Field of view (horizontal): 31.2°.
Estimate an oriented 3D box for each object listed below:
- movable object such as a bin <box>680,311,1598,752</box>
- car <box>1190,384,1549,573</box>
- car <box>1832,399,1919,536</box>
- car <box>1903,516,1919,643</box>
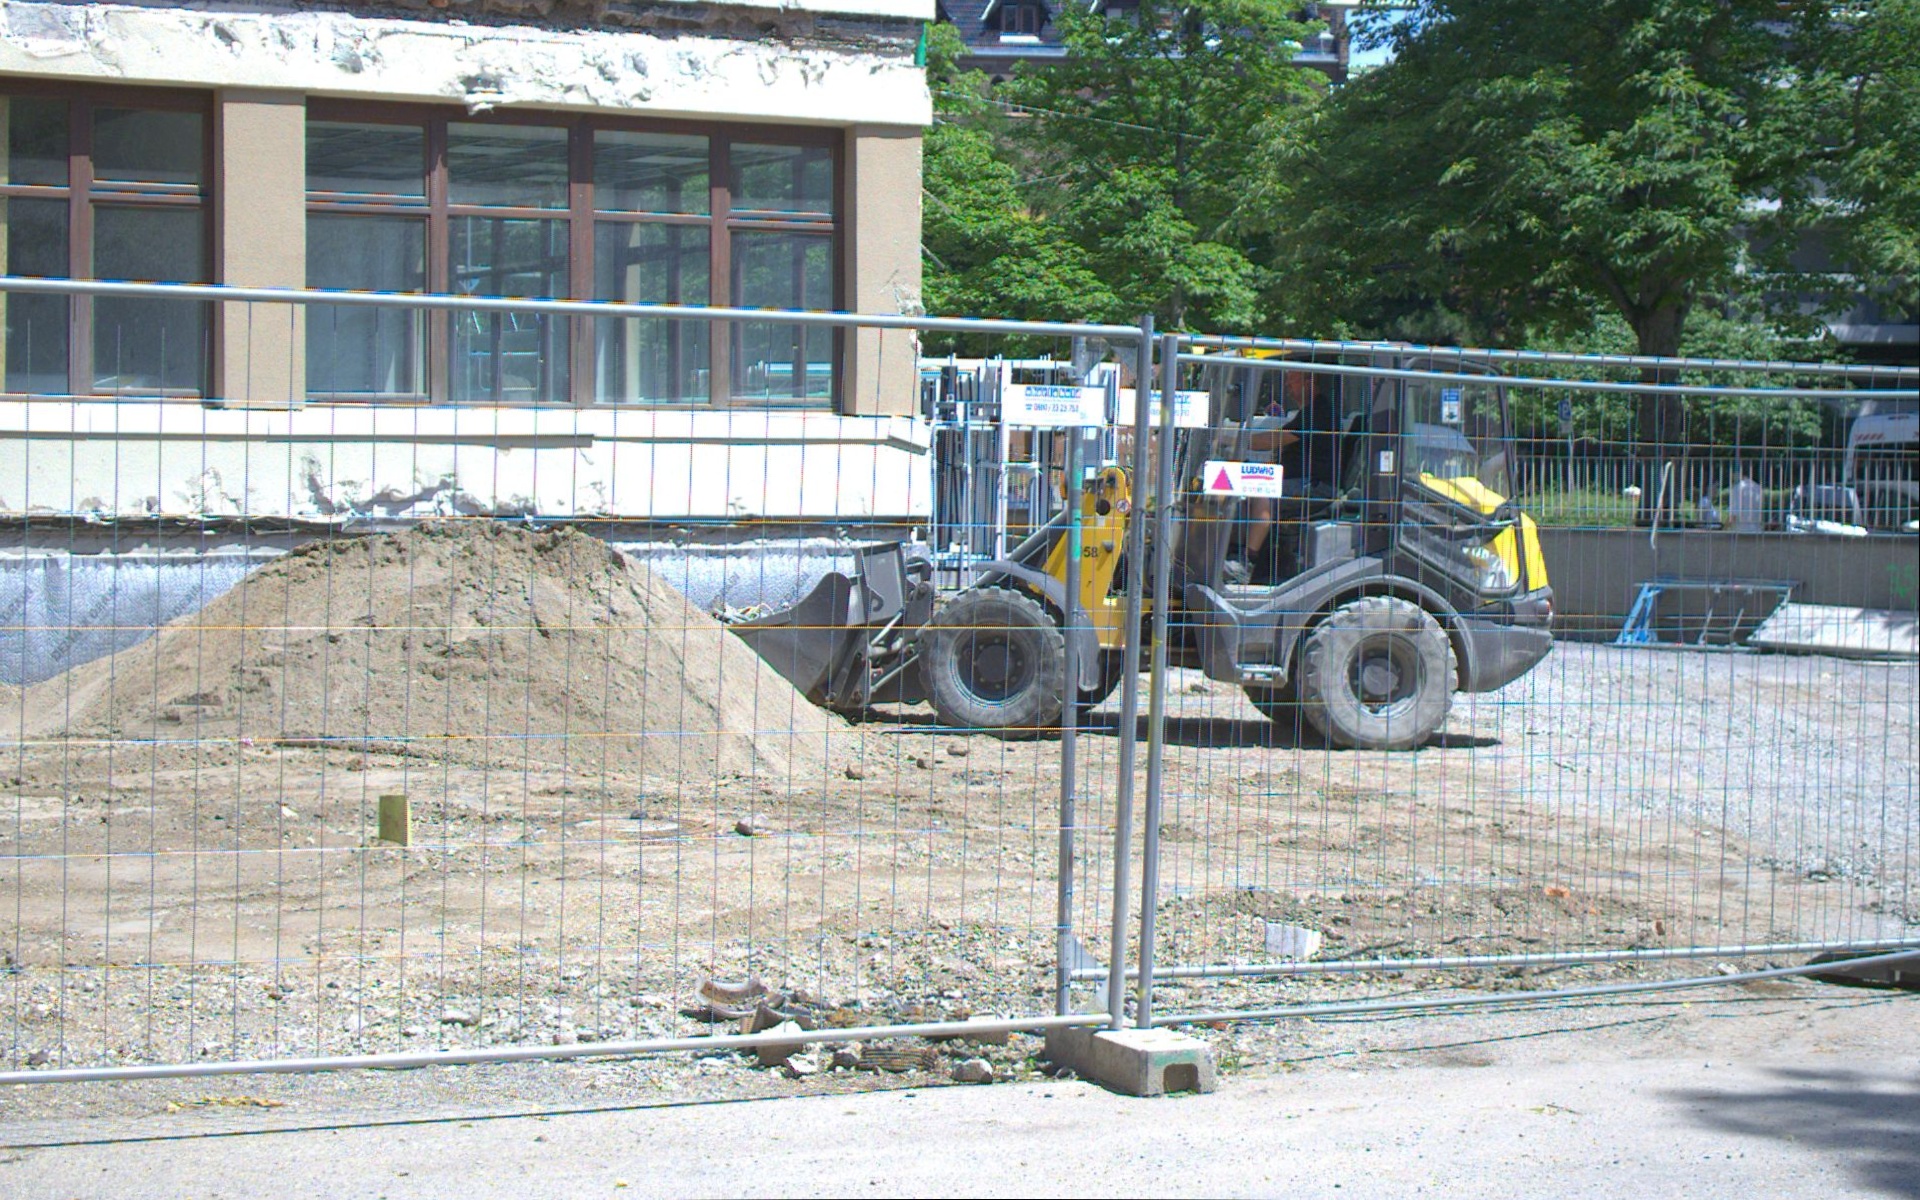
[{"bbox_3d":[1.057,-0.458,21.698,5.402,2.455,2.368,2,2,0],"label":"movable object such as a bin"},{"bbox_3d":[5.438,-1.632,46.459,1.993,2.408,5.244,-1,2,-31],"label":"car"},{"bbox_3d":[16.261,-2.255,58.836,2.186,2.250,4.865,1,2,19],"label":"car"},{"bbox_3d":[11.856,-0.215,36.195,3.713,1.316,1.614,-1,2,-32],"label":"car"}]
